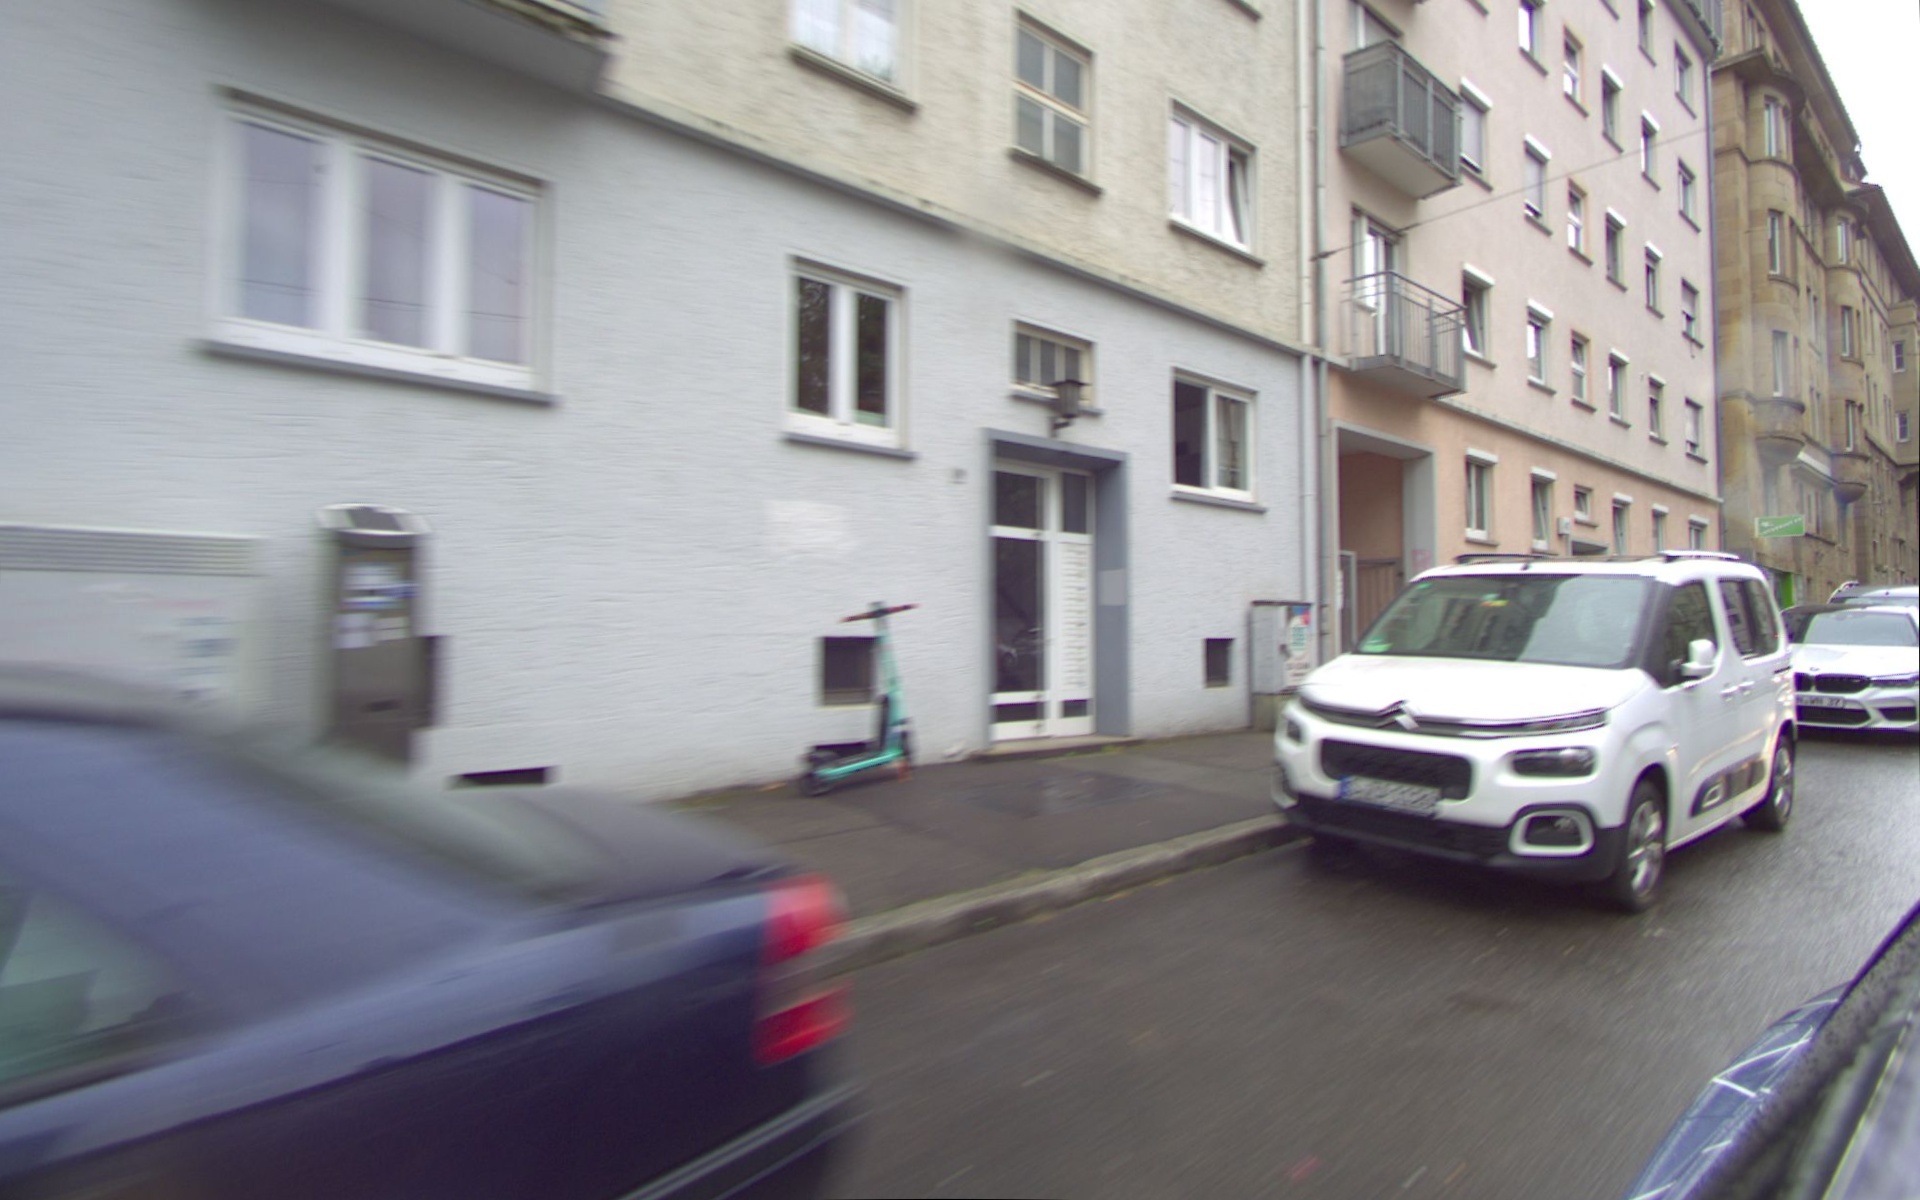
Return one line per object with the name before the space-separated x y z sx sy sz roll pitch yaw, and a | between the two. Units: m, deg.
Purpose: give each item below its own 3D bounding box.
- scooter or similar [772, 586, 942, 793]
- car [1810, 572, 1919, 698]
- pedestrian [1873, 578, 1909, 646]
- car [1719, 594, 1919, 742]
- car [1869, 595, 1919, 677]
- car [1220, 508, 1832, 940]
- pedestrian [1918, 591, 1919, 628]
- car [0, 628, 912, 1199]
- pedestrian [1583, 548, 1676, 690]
scooter or similar | -0.691 0.567 6.967 1.150 1.314 0.388 0 0 -40
car | 14.890 0.485 15.889 4.139 1.787 1.793 0 0 -42
pedestrian | 24.852 0.310 27.016 0.676 1.785 0.608 0 1 -41
car | 10.922 0.690 12.264 4.818 1.474 1.874 0 -1 -42
car | 18.732 0.636 19.333 3.536 1.480 1.573 0 0 -41
car | 3.708 0.512 6.270 4.386 1.773 1.832 0 -1 -39
pedestrian | 40.338 0.403 42.151 0.697 1.555 0.562 0 -1 -41
car | -2.292 0.762 1.062 4.384 1.364 1.720 0 -1 -42
pedestrian | 9.115 0.234 13.769 1.020 1.856 0.747 0 1 -39
